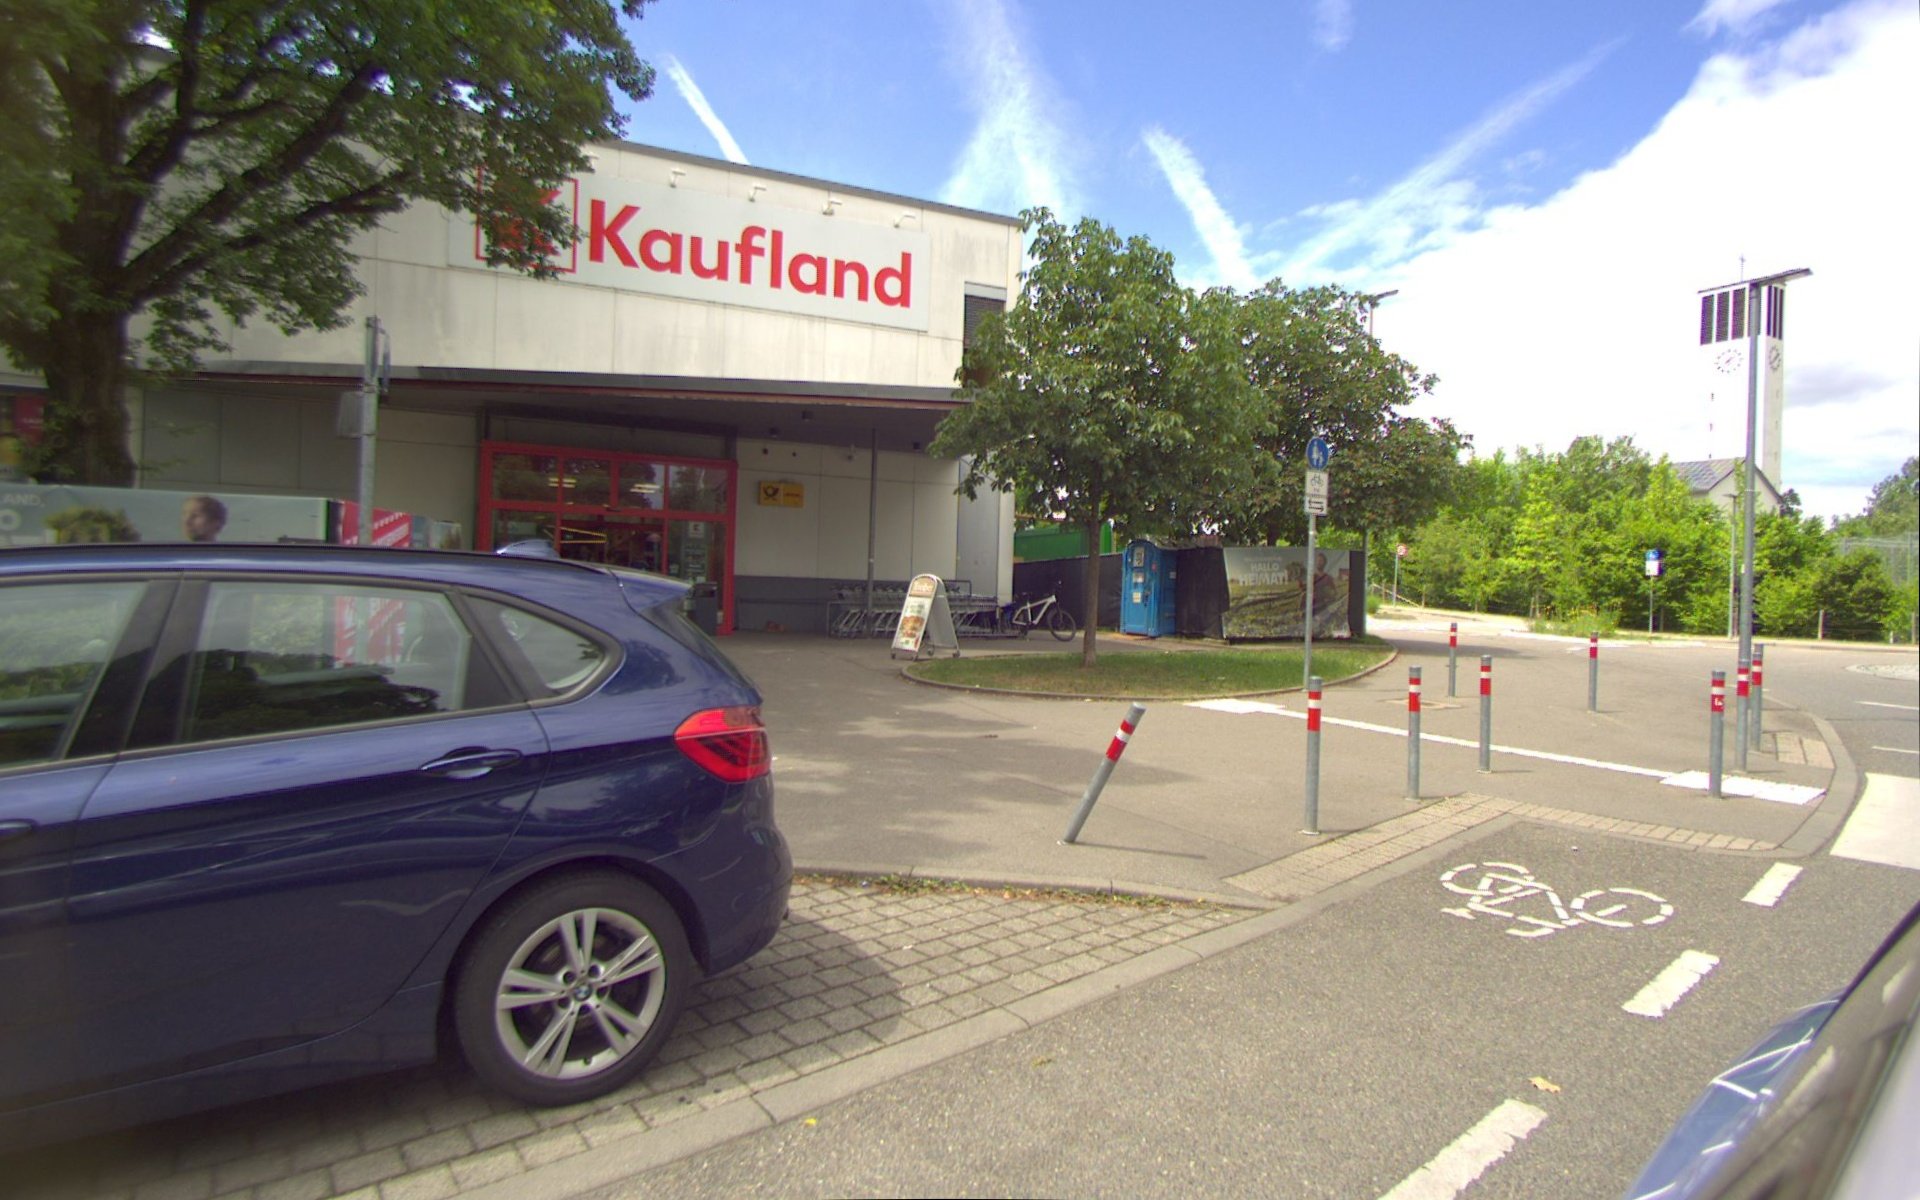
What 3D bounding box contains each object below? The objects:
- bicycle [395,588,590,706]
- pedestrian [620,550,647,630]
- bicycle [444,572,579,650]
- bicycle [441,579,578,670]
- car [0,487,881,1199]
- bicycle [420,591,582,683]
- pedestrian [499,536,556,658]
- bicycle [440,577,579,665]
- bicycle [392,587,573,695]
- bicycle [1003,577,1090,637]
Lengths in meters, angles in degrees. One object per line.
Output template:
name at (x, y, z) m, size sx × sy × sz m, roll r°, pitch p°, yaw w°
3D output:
bicycle at (-4.769, 0.470, 10.409) m, size 1.754 × 1.170 × 0.452 m, roll 1°, pitch 0°, yaw -10°
pedestrian at (-6.581, -0.208, 20.396) m, size 0.485 × 1.586 × 0.628 m, roll 1°, pitch 1°, yaw -20°
bicycle at (-6.986, 0.169, 15.849) m, size 1.873 × 1.170 × 0.531 m, roll 0°, pitch 0°, yaw -18°
bicycle at (-5.966, 0.313, 13.475) m, size 1.627 × 1.170 × 0.427 m, roll 0°, pitch 0°, yaw -21°
car at (-2.611, 0.513, 2.948) m, size 4.343 × 1.597 × 1.925 m, roll 0°, pitch 2°, yaw -33°
bicycle at (-5.582, 0.431, 12.351) m, size 1.764 × 1.053 × 0.522 m, roll 0°, pitch 1°, yaw -28°
pedestrian at (-6.448, -0.059, 15.115) m, size 0.732 × 1.778 × 0.626 m, roll 1°, pitch 3°, yaw -19°
bicycle at (-6.242, 0.282, 14.096) m, size 1.730 × 1.170 × 0.441 m, roll 0°, pitch 0°, yaw -22°
bicycle at (-5.282, 0.449, 11.257) m, size 1.737 × 1.170 × 0.502 m, roll 1°, pitch 0°, yaw -6°
bicycle at (1.875, 0.138, 21.945) m, size 1.761 × 1.249 × 0.706 m, roll 1°, pitch 0°, yaw 35°
